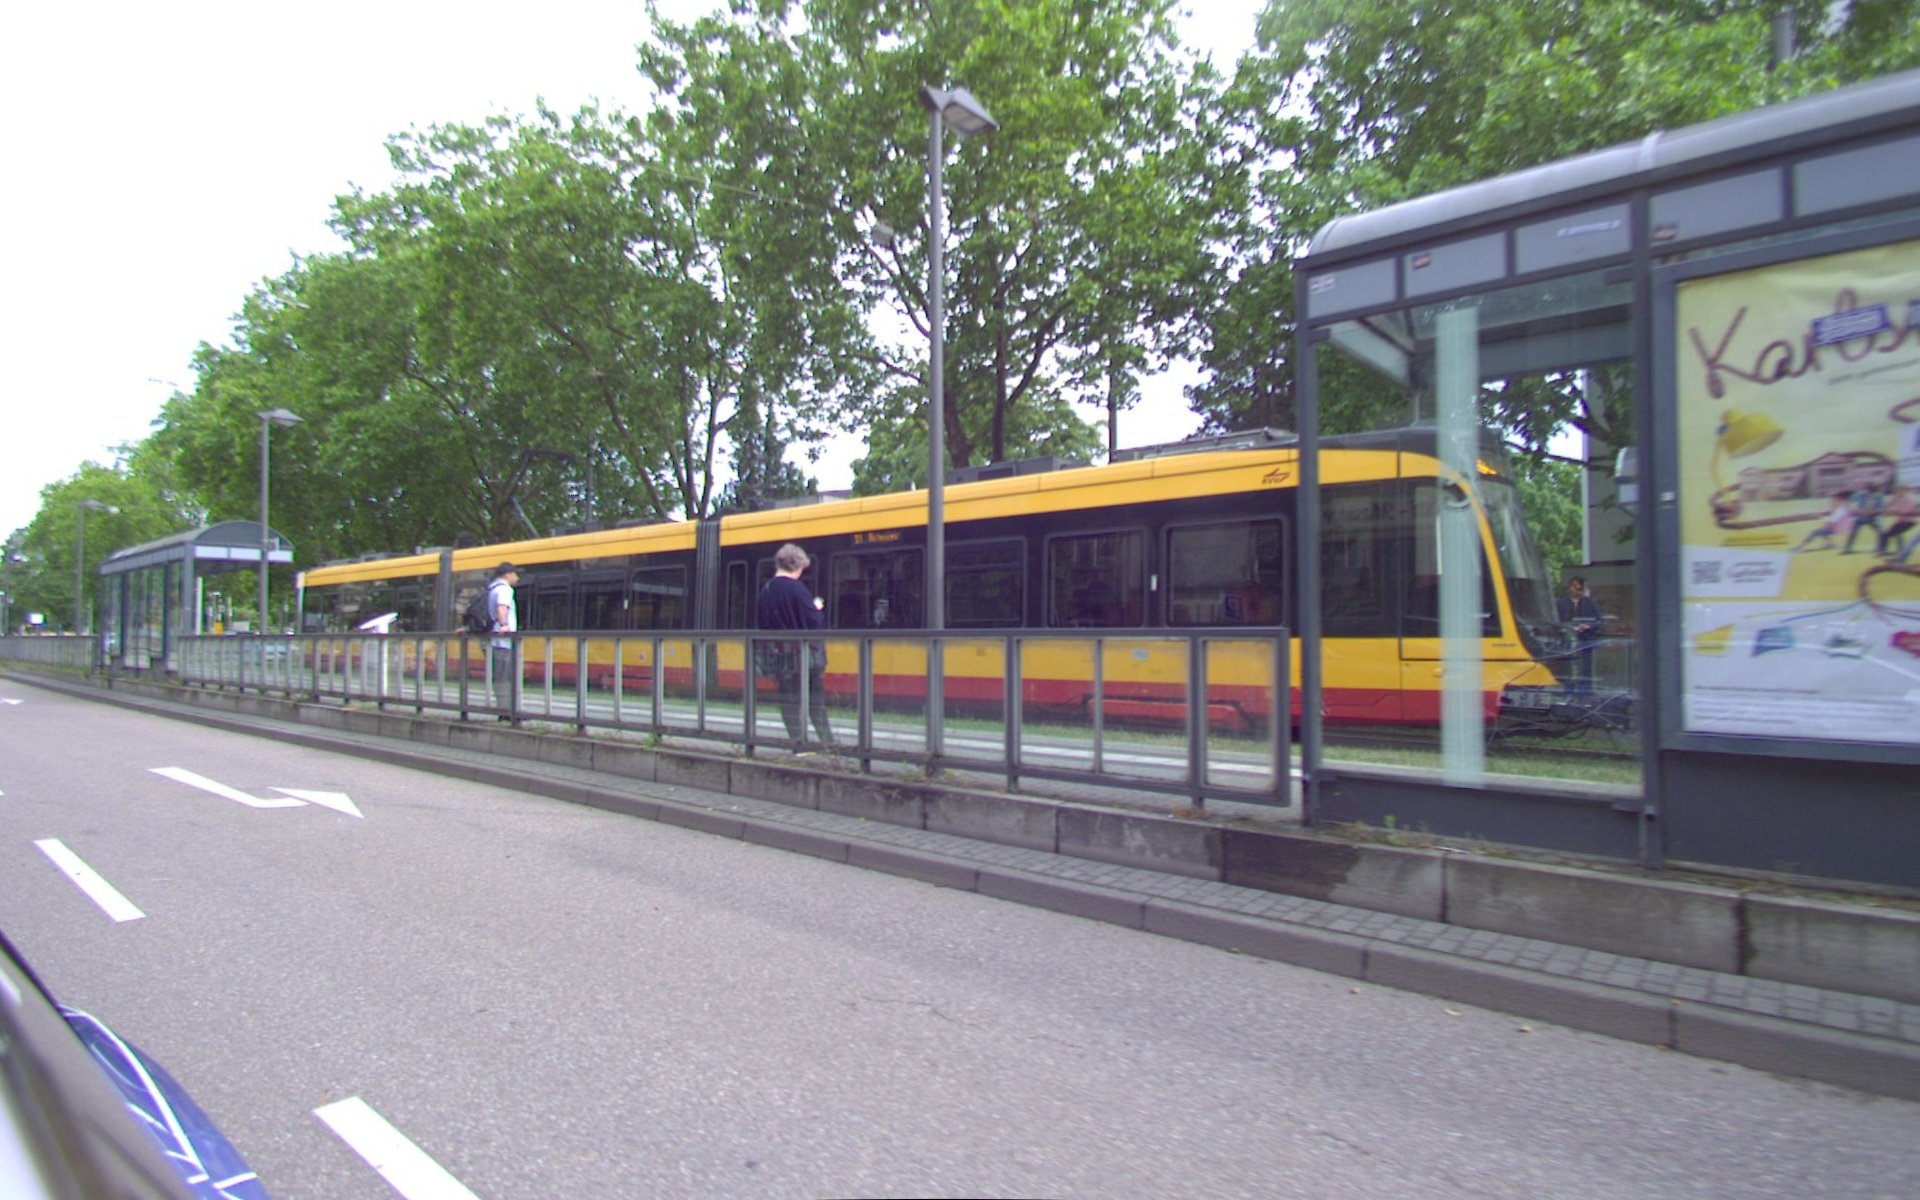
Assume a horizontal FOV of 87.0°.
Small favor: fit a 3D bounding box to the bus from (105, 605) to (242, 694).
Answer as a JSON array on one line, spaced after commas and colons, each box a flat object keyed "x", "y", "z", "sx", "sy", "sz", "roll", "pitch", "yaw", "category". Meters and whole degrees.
[{"x": -19.625, "y": 1.181, "z": 25.209, "sx": 3.998, "sy": 2.029, "sz": 1.973, "roll": -2, "pitch": -1, "yaw": 41, "category": "bus"}]

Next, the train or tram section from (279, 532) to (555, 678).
[{"x": -16.583, "y": 0.277, "z": 30.126, "sx": 12.533, "sy": 3.589, "sz": 3.060, "roll": -2, "pitch": -1, "yaw": 41, "category": "train or tram section"}]

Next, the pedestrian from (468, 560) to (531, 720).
[{"x": -4.873, "y": 0.413, "z": 10.701, "sx": 0.392, "sy": 1.645, "sz": 0.474, "roll": -2, "pitch": -1, "yaw": 42, "category": "pedestrian"}]

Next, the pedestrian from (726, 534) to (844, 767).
[{"x": -1.316, "y": 0.363, "z": 7.581, "sx": 0.730, "sy": 1.645, "sz": 0.506, "roll": -2, "pitch": -1, "yaw": 42, "category": "pedestrian"}]

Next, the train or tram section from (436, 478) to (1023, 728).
[{"x": -5.900, "y": 0.235, "z": 20.747, "sx": 15.763, "sy": 3.558, "sz": 3.028, "roll": -2, "pitch": -1, "yaw": 41, "category": "train or tram section"}]

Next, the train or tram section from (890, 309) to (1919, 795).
[{"x": 5.759, "y": -0.283, "z": 10.520, "sx": 15.287, "sy": 3.558, "sz": 3.028, "roll": -2, "pitch": -1, "yaw": 41, "category": "train or tram section"}]
